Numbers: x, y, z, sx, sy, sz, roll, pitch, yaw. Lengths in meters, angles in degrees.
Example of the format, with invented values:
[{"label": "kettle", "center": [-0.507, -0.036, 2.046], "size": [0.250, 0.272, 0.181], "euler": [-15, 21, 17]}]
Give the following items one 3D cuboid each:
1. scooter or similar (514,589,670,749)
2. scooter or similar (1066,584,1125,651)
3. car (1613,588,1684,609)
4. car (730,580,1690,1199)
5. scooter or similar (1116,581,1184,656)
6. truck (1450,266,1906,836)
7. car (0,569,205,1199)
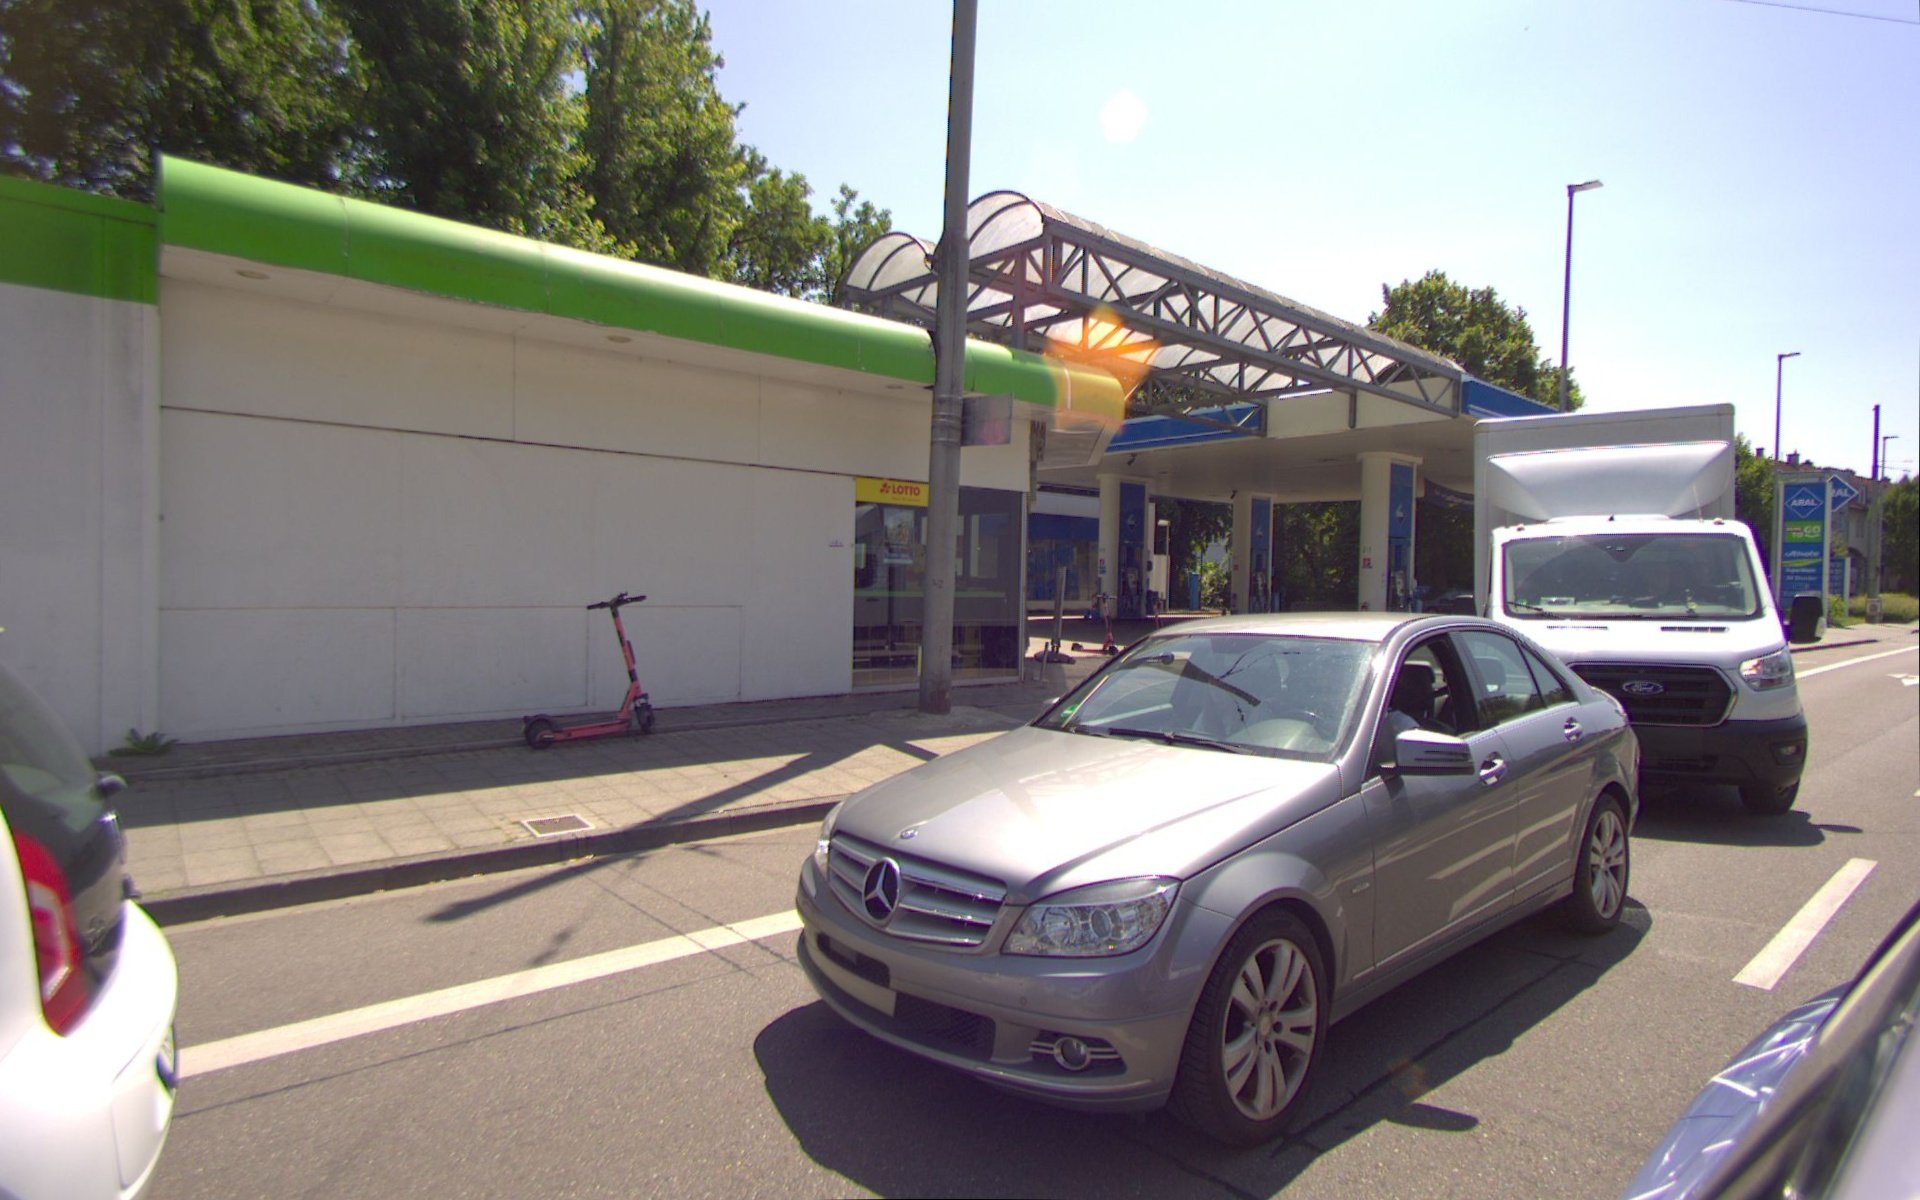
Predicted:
[{"label": "scooter or similar", "center": [-2.996, 0.525, 8.269], "size": [1.117, 1.209, 0.384], "euler": [0, 4, -37]}, {"label": "scooter or similar", "center": [2.515, 0.315, 18.853], "size": [0.377, 1.191, 1.138], "euler": [0, 1, -39]}, {"label": "car", "center": [55.047, -0.130, 80.944], "size": [1.961, 1.540, 4.230], "euler": [0, 1, -33]}, {"label": "car", "center": [1.407, 0.681, 4.351], "size": [4.339, 1.467, 1.799], "euler": [0, 1, -40]}, {"label": "scooter or similar", "center": [3.344, 0.310, 17.868], "size": [0.404, 1.256, 1.176], "euler": [0, 1, -39]}, {"label": "truck", "center": [6.470, -0.365, 10.097], "size": [2.406, 3.434, 7.754], "euler": [1, 1, 29]}, {"label": "car", "center": [-3.032, 0.682, 1.110], "size": [3.458, 1.470, 1.610], "euler": [0, 1, -40]}]
